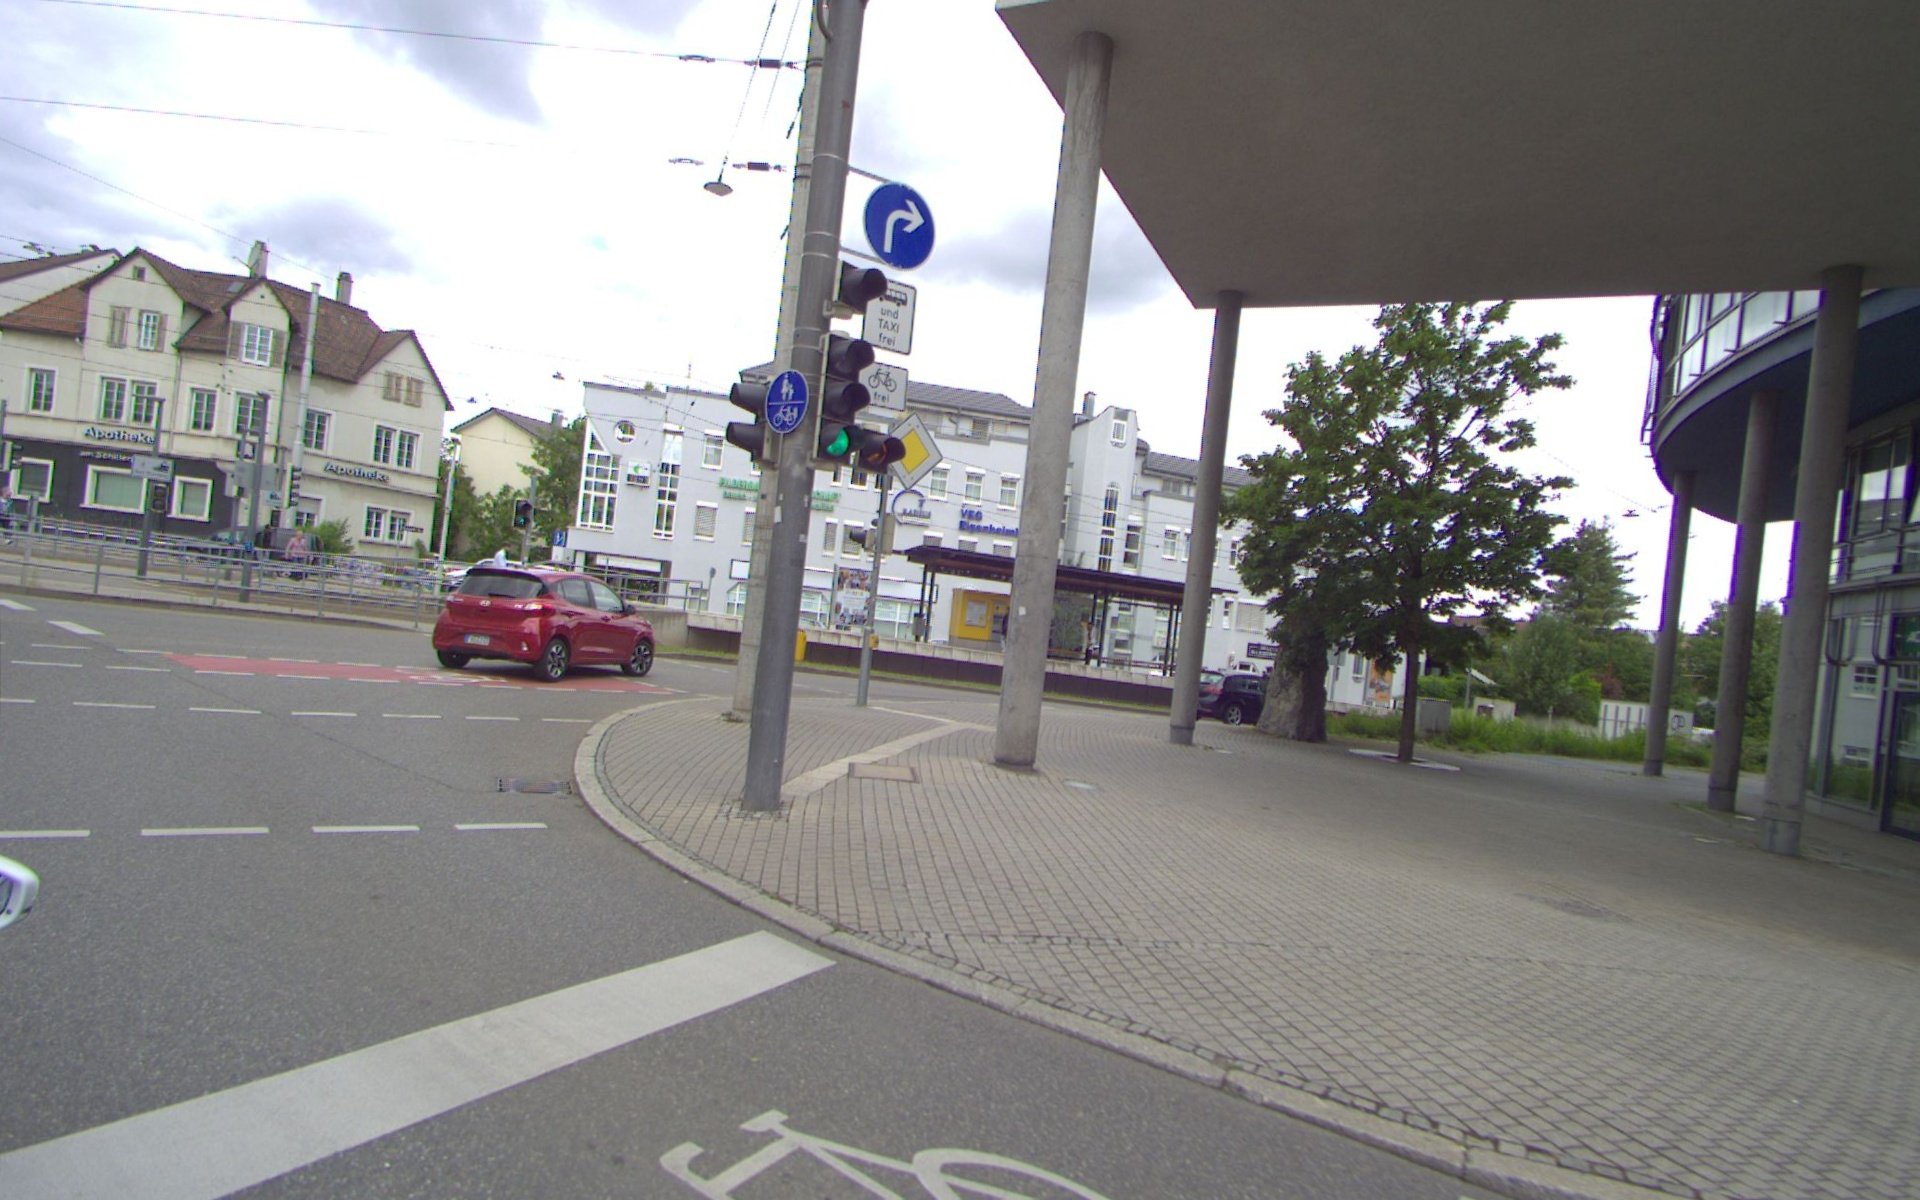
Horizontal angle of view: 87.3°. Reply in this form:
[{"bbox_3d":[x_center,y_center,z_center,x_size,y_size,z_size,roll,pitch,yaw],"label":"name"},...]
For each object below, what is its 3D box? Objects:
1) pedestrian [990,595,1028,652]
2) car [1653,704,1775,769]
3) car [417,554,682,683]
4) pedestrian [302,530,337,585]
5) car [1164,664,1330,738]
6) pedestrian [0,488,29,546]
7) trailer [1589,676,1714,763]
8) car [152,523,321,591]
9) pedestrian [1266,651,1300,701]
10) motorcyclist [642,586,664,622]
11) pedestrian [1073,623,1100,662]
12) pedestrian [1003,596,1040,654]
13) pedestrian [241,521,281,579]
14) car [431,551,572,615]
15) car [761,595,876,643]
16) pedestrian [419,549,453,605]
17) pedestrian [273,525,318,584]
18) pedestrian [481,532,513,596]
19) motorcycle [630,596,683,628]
[{"bbox_3d":[1.603,0.758,32.768,0.780,1.738,0.685,8,-1,-27],"label":"pedestrian"},{"bbox_3d":[29.327,5.302,39.087,4.852,1.968,1.871,8,-2,-29],"label":"car"},{"bbox_3d":[-5.890,0.332,15.028,1.671,1.469,4.004,7,-2,10],"label":"car"},{"bbox_3d":[-21.806,-1.452,34.267,0.782,1.738,0.644,8,-1,-33],"label":"pedestrian"},{"bbox_3d":[7.585,2.665,26.593,3.949,1.428,1.730,7,0,-24],"label":"car"},{"bbox_3d":[-30.039,-2.632,31.592,0.714,1.739,0.843,7,0,23],"label":"pedestrian"},{"bbox_3d":[25.322,4.385,36.817,4.275,2.644,1.871,8,-1,-29],"label":"trailer"},{"bbox_3d":[-27.087,-1.560,37.853,4.629,1.842,1.858,8,-2,-19],"label":"car"},{"bbox_3d":[12.226,2.871,38.035,0.684,1.738,0.781,8,-1,-36],"label":"pedestrian"},{"bbox_3d":[-12.783,0.155,41.888,0.682,1.410,0.762,7,-2,-13],"label":"motorcyclist"},{"bbox_3d":[4.395,1.472,35.036,0.581,1.279,0.567,8,-1,-22],"label":"pedestrian"},{"bbox_3d":[2.077,0.836,33.770,0.777,1.795,0.688,7,-1,37],"label":"pedestrian"},{"bbox_3d":[-22.430,-1.606,32.282,0.638,1.739,0.704,7,1,22],"label":"pedestrian"},{"bbox_3d":[-18.492,-0.634,40.771,4.707,1.941,1.987,7,-2,-13],"label":"car"},{"bbox_3d":[-6.166,0.845,43.639,4.707,1.488,1.987,7,-2,-13],"label":"car"},{"bbox_3d":[-17.379,-0.745,33.371,0.640,1.738,0.787,8,-1,-16],"label":"pedestrian"},{"bbox_3d":[-21.210,-1.435,32.098,0.638,1.738,0.789,7,-1,23],"label":"pedestrian"},{"bbox_3d":[-13.348,-1.034,29.022,0.641,1.739,0.701,6,1,-23],"label":"pedestrian"},{"bbox_3d":[-12.639,0.518,41.920,1.948,1.086,0.762,7,-2,-13],"label":"motorcycle"}]
